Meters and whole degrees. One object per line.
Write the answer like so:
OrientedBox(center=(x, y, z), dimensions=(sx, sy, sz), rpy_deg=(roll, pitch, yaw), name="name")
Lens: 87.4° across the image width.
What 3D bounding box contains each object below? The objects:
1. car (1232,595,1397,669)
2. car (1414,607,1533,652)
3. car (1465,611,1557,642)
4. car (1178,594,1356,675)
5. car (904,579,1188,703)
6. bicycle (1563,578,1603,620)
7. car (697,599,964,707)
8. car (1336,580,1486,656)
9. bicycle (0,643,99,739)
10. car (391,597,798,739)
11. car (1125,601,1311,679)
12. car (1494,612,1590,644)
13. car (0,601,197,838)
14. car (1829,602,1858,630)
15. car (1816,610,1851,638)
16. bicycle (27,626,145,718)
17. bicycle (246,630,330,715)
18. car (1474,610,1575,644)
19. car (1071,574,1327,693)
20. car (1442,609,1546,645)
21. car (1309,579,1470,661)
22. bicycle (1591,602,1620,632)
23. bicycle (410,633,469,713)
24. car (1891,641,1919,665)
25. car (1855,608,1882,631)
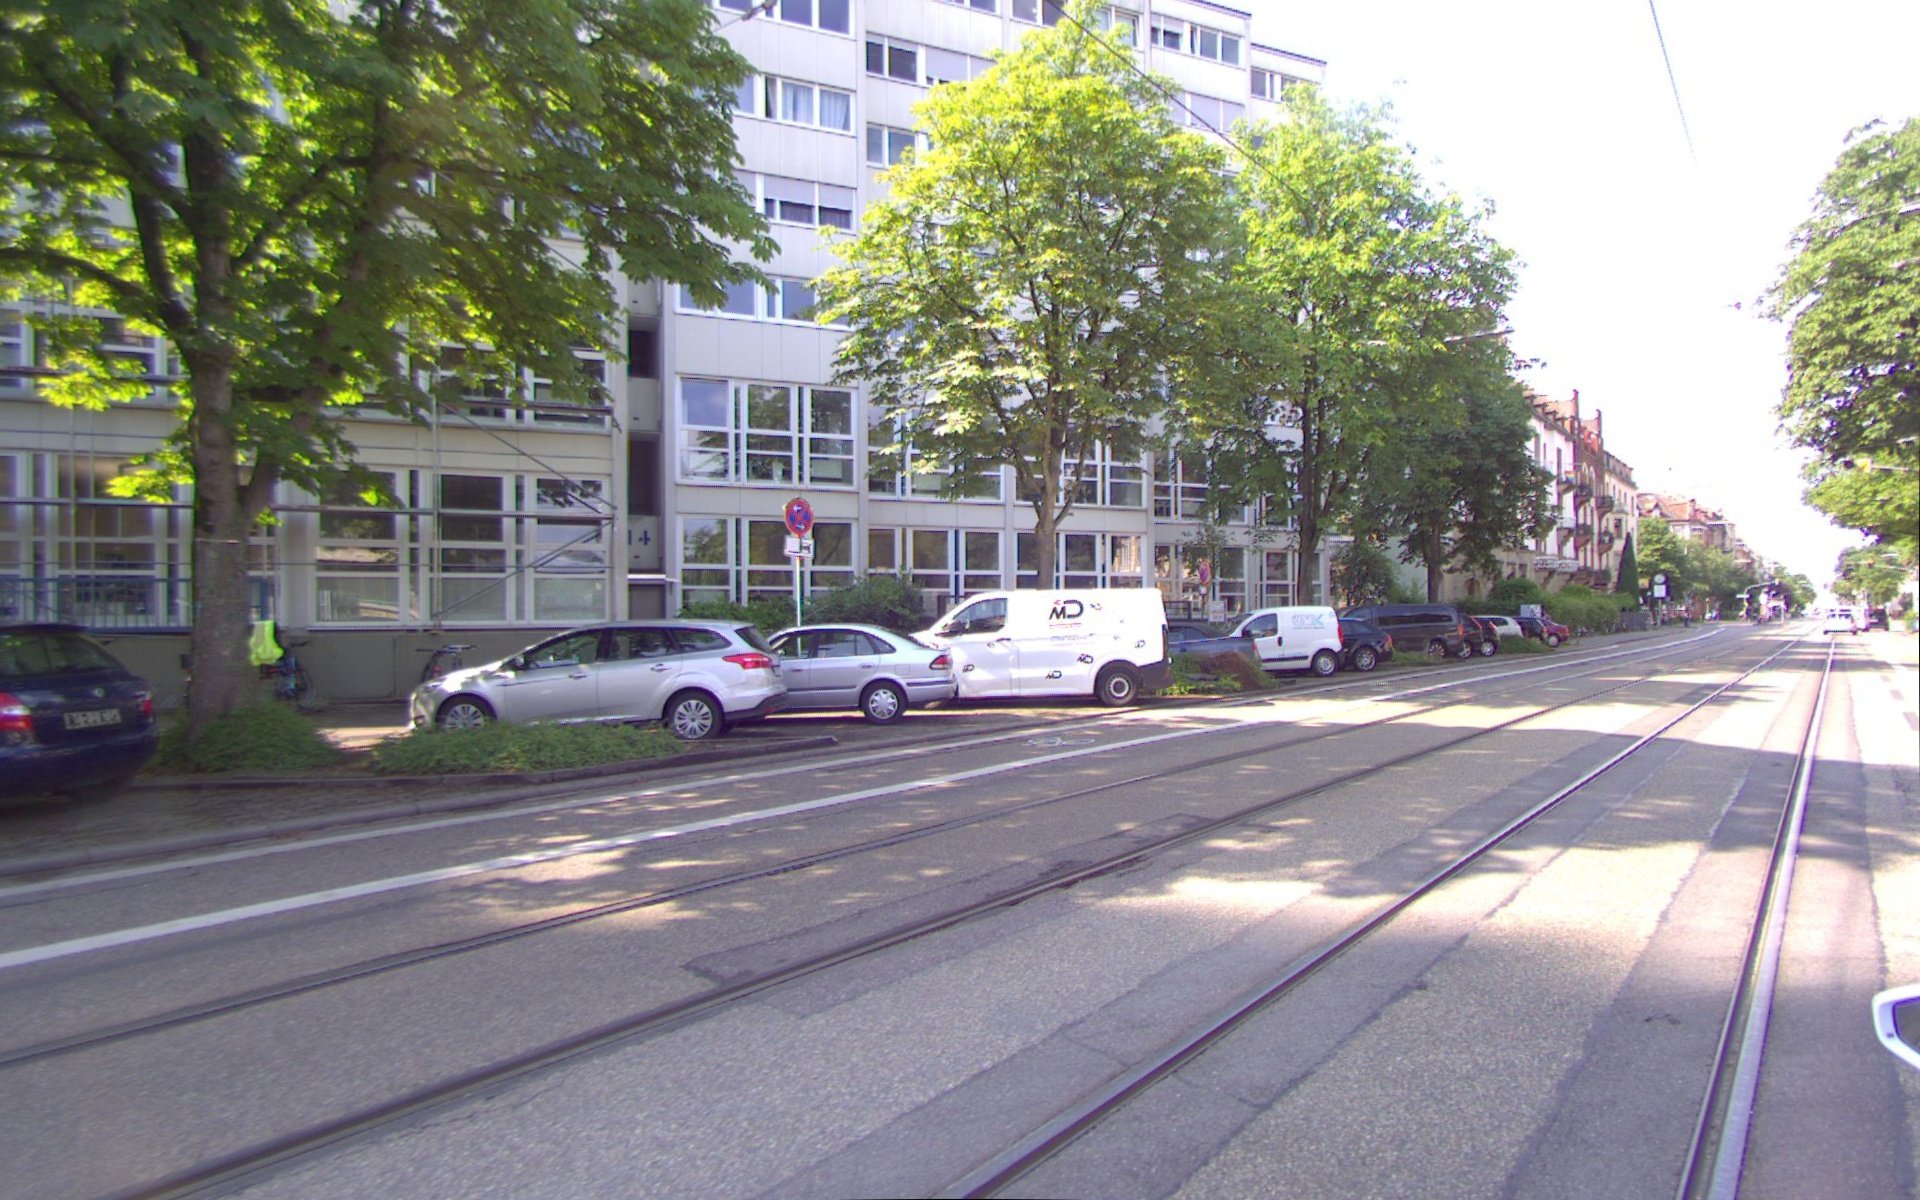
OrientedBox(center=(9.533, 0.831, 27.182), dimensions=(3.687, 1.735, 1.882), rpy_deg=(3, 1, -4), name="car")
OrientedBox(center=(18.910, 1.084, 37.098), dimensions=(3.532, 1.599, 1.634), rpy_deg=(-1, -1, 2), name="car")
OrientedBox(center=(28.134, 1.317, 51.359), dimensions=(3.711, 1.324, 1.639), rpy_deg=(3, 1, 3), name="car")
OrientedBox(center=(7.477, 0.820, 24.715), dimensions=(3.687, 1.735, 1.882), rpy_deg=(3, 1, -4), name="car")
OrientedBox(center=(1.397, 0.667, 17.133), dimensions=(4.550, 1.937, 1.932), rpy_deg=(-1, 0, 0), name="car")
OrientedBox(center=(36.691, -0.032, 59.119), dimensions=(3.972, 2.350, 0.929), rpy_deg=(2, 1, -43), name="bicycle")
OrientedBox(center=(-1.817, 0.746, 14.857), dimensions=(3.709, 1.495, 1.725), rpy_deg=(0, 0, -1), name="car")
OrientedBox(center=(15.442, 0.592, 34.565), dimensions=(4.122, 2.109, 1.883), rpy_deg=(6, 3, 2), name="car")
OrientedBox(center=(-12.874, 1.226, 14.041), dimensions=(0.489, 1.101, 2.047), rpy_deg=(3, 1, -18), name="bicycle")
OrientedBox(center=(-4.318, 0.799, 12.460), dimensions=(4.377, 1.445, 1.739), rpy_deg=(3, 0, -5), name="car")
OrientedBox(center=(5.680, 0.865, 22.379), dimensions=(3.569, 1.520, 1.761), rpy_deg=(3, 0, -6), name="car")
OrientedBox(center=(28.627, 1.359, 49.465), dimensions=(3.711, 1.324, 1.639), rpy_deg=(3, 1, 3), name="car")
OrientedBox(center=(-8.350, 0.738, 7.481), dimensions=(3.922, 1.482, 1.759), rpy_deg=(3, 1, -1), name="car")
OrientedBox(center=(69.111, 1.273, 78.581), dimensions=(1.603, 2.027, 3.547), rpy_deg=(4, 1, 41), name="car")
OrientedBox(center=(57.551, 1.572, 66.167), dimensions=(1.603, 1.706, 3.546), rpy_deg=(4, 1, 41), name="car")
OrientedBox(center=(-12.442, 0.990, 14.367), dimensions=(0.489, 1.101, 2.047), rpy_deg=(3, 1, -18), name="bicycle")
OrientedBox(center=(-10.269, 1.077, 15.413), dimensions=(0.489, 1.101, 2.047), rpy_deg=(3, 1, -18), name="bicycle")
OrientedBox(center=(26.305, 1.263, 46.857), dimensions=(3.711, 1.324, 1.639), rpy_deg=(3, 1, 3), name="car")
OrientedBox(center=(4.542, 0.621, 19.602), dimensions=(4.483, 2.024, 1.903), rpy_deg=(2, 1, 0), name="car")
OrientedBox(center=(23.847, 1.186, 44.925), dimensions=(3.711, 1.324, 1.639), rpy_deg=(3, 1, 3), name="car")
OrientedBox(center=(13.625, 0.598, 32.012), dimensions=(4.125, 2.109, 1.882), rpy_deg=(5, 3, -4), name="car")
OrientedBox(center=(40.685, 1.064, 63.335), dimensions=(2.268, 1.770, 0.929), rpy_deg=(2, 1, -43), name="bicycle")
OrientedBox(center=(-8.480, 1.161, 16.412), dimensions=(0.489, 1.101, 2.047), rpy_deg=(3, 1, -18), name="bicycle")
OrientedBox(center=(66.017, 3.677, 69.937), dimensions=(1.603, 1.537, 3.546), rpy_deg=(4, 1, 41), name="car")
OrientedBox(center=(78.143, 1.660, 86.406), dimensions=(1.603, 1.873, 3.546), rpy_deg=(4, 1, 41), name="car")
